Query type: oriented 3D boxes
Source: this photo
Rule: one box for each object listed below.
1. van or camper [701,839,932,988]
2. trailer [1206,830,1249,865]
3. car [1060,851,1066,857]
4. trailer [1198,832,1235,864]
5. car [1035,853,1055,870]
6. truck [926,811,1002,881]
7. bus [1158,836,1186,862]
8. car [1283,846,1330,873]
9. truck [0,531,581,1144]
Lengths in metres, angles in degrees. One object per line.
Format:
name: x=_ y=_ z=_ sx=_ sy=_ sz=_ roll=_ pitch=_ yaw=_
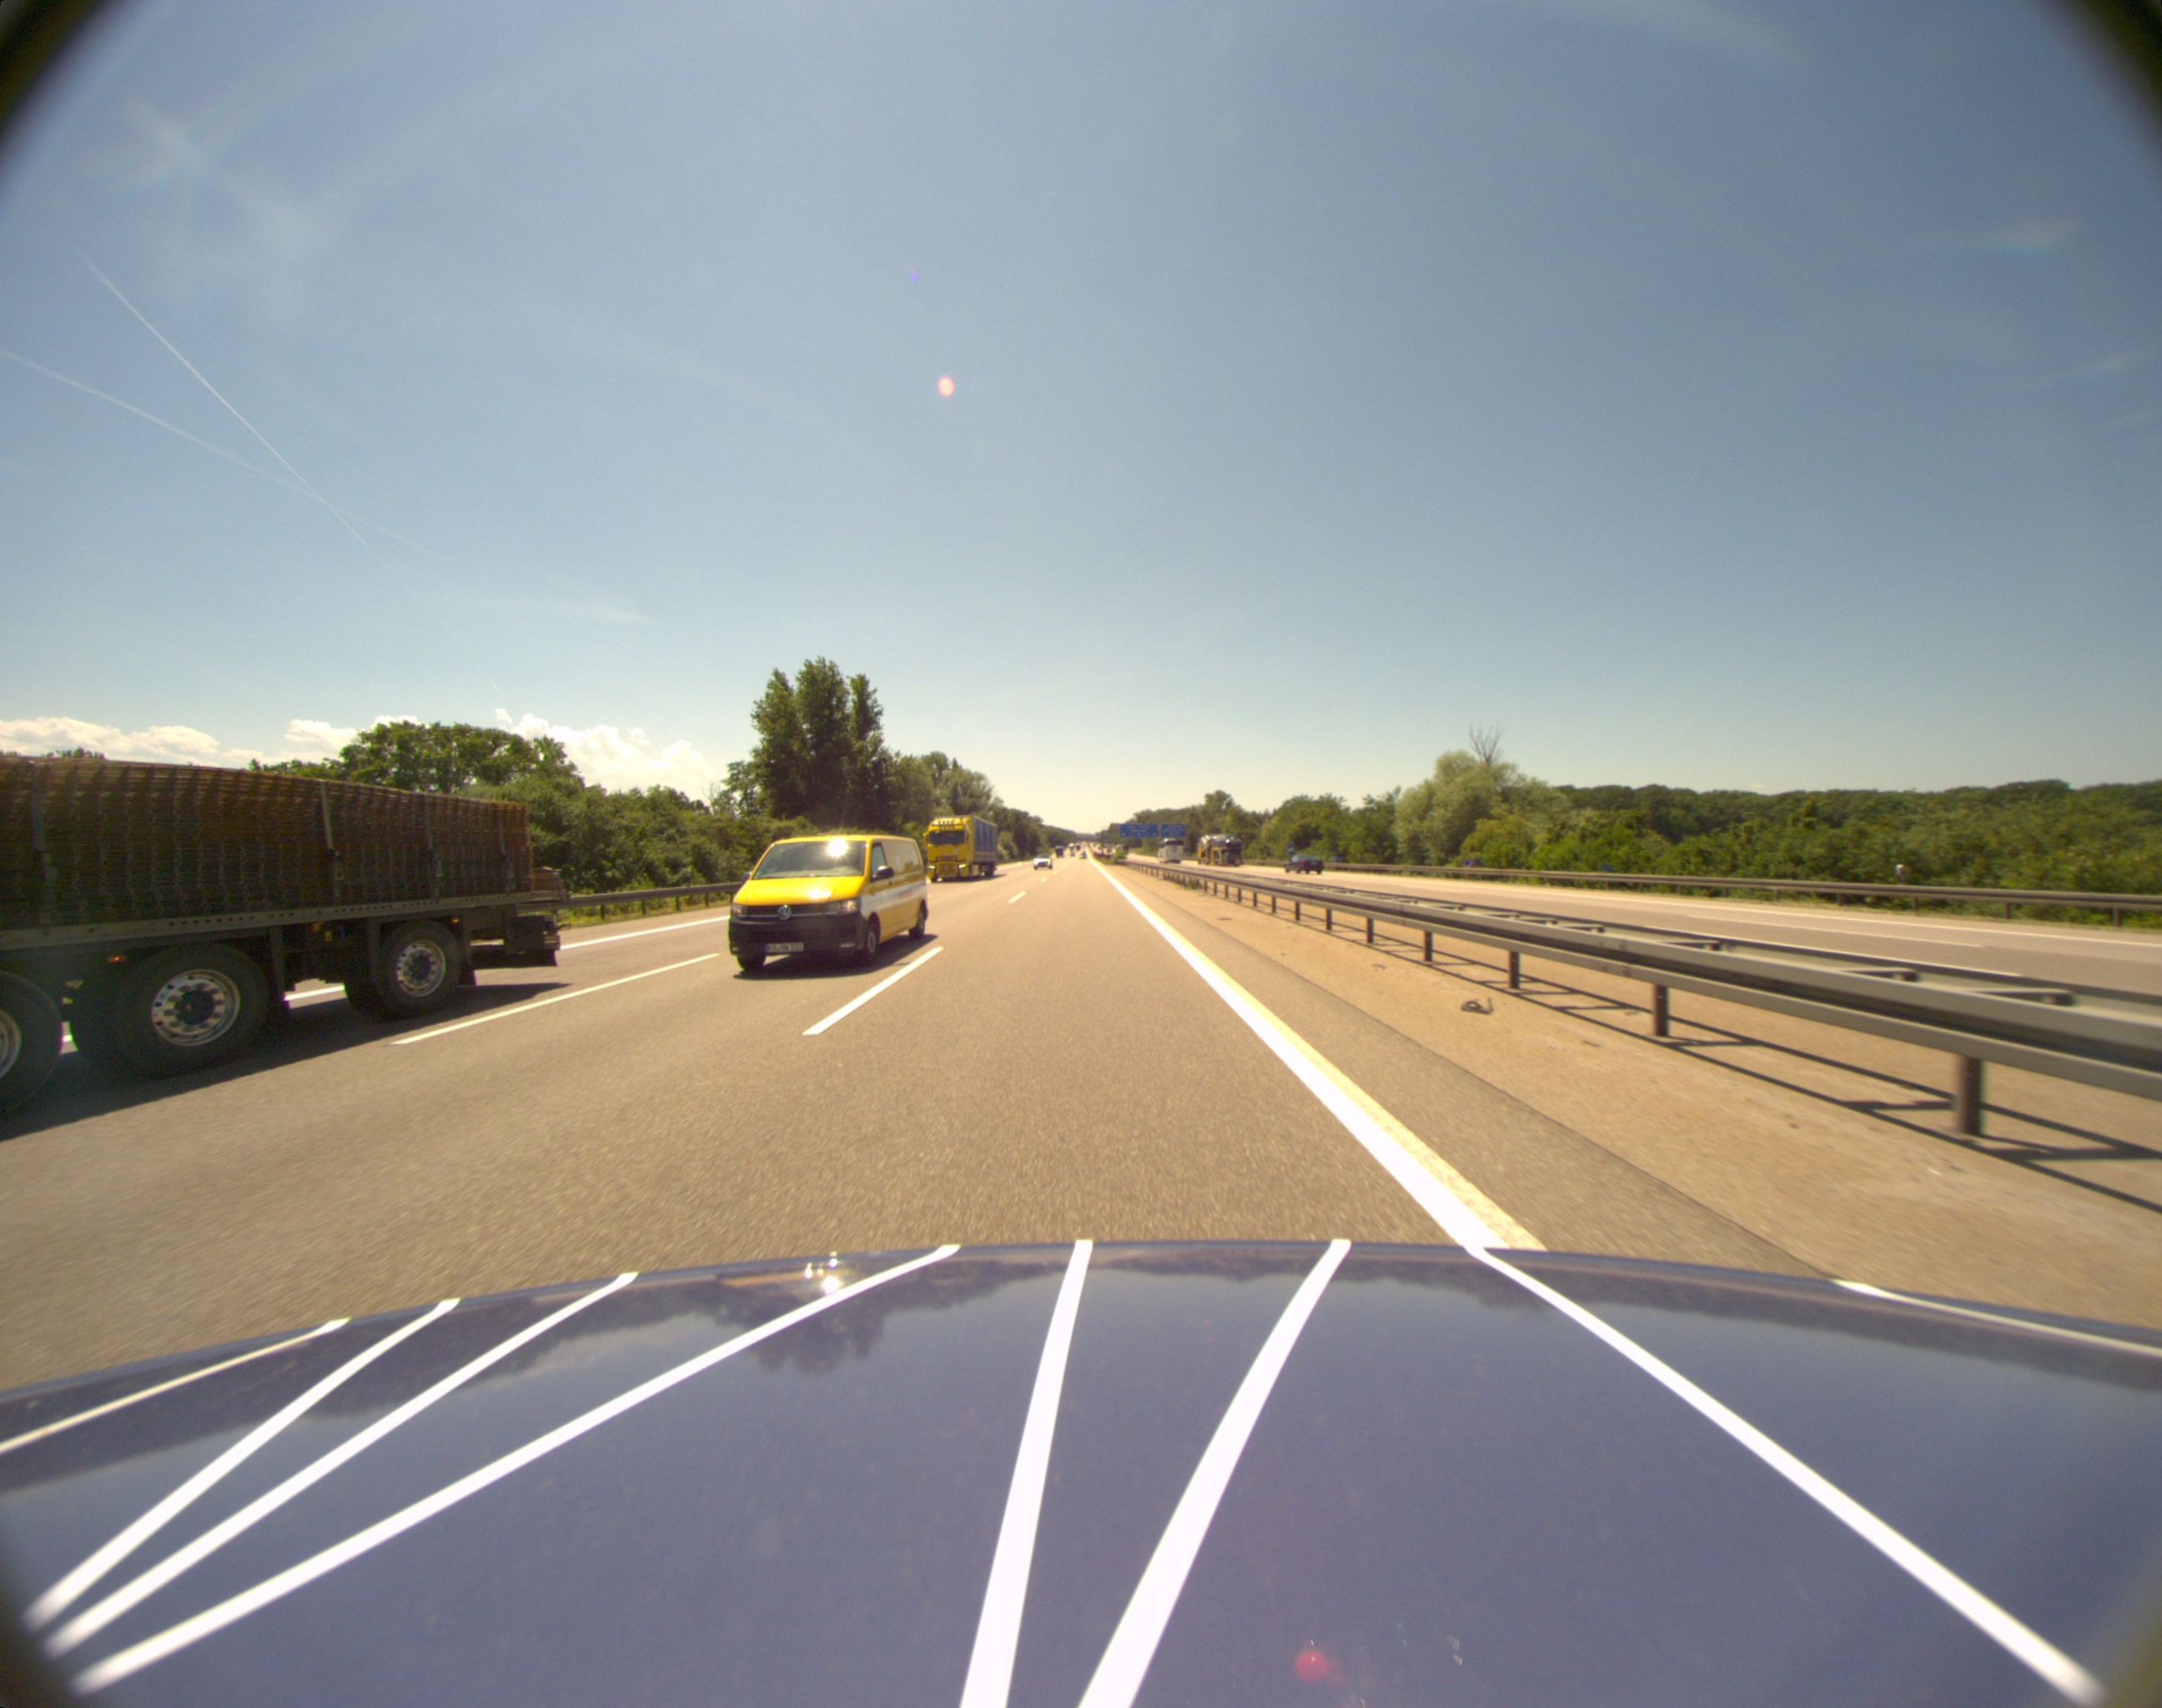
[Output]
van or camper: x=-3.978 y=0.768 z=12.522 sx=1.998 sy=1.898 sz=4.970 roll=-2 pitch=0 yaw=0
trailer: x=17.490 y=-0.793 z=91.779 sx=2.929 sy=3.945 sz=11.649 roll=1 pitch=0 yaw=0
car: x=-5.754 y=-0.028 z=247.813 sx=1.999 sy=2.002 sz=3.999 roll=0 pitch=0 yaw=-1
trailer: x=17.527 y=-0.785 z=98.810 sx=2.929 sy=3.945 sz=10.535 roll=1 pitch=0 yaw=0
car: x=-3.687 y=0.742 z=78.517 sx=1.845 sy=1.565 sz=3.999 roll=-2 pitch=1 yaw=1
truck: x=-7.974 y=-0.622 z=54.494 sx=2.852 sy=4.233 sz=16.787 roll=-1 pitch=1 yaw=0
bus: x=13.719 y=-0.753 z=115.895 sx=2.701 sy=3.563 sz=12.792 roll=1 pitch=0 yaw=0
car: x=16.970 y=0.365 z=57.427 sx=1.999 sy=1.861 sz=4.580 roll=2 pitch=1 yaw=-1
truck: x=-8.409 y=-0.028 z=2.062 sx=2.977 sy=3.934 sz=16.609 roll=-2 pitch=1 yaw=0
